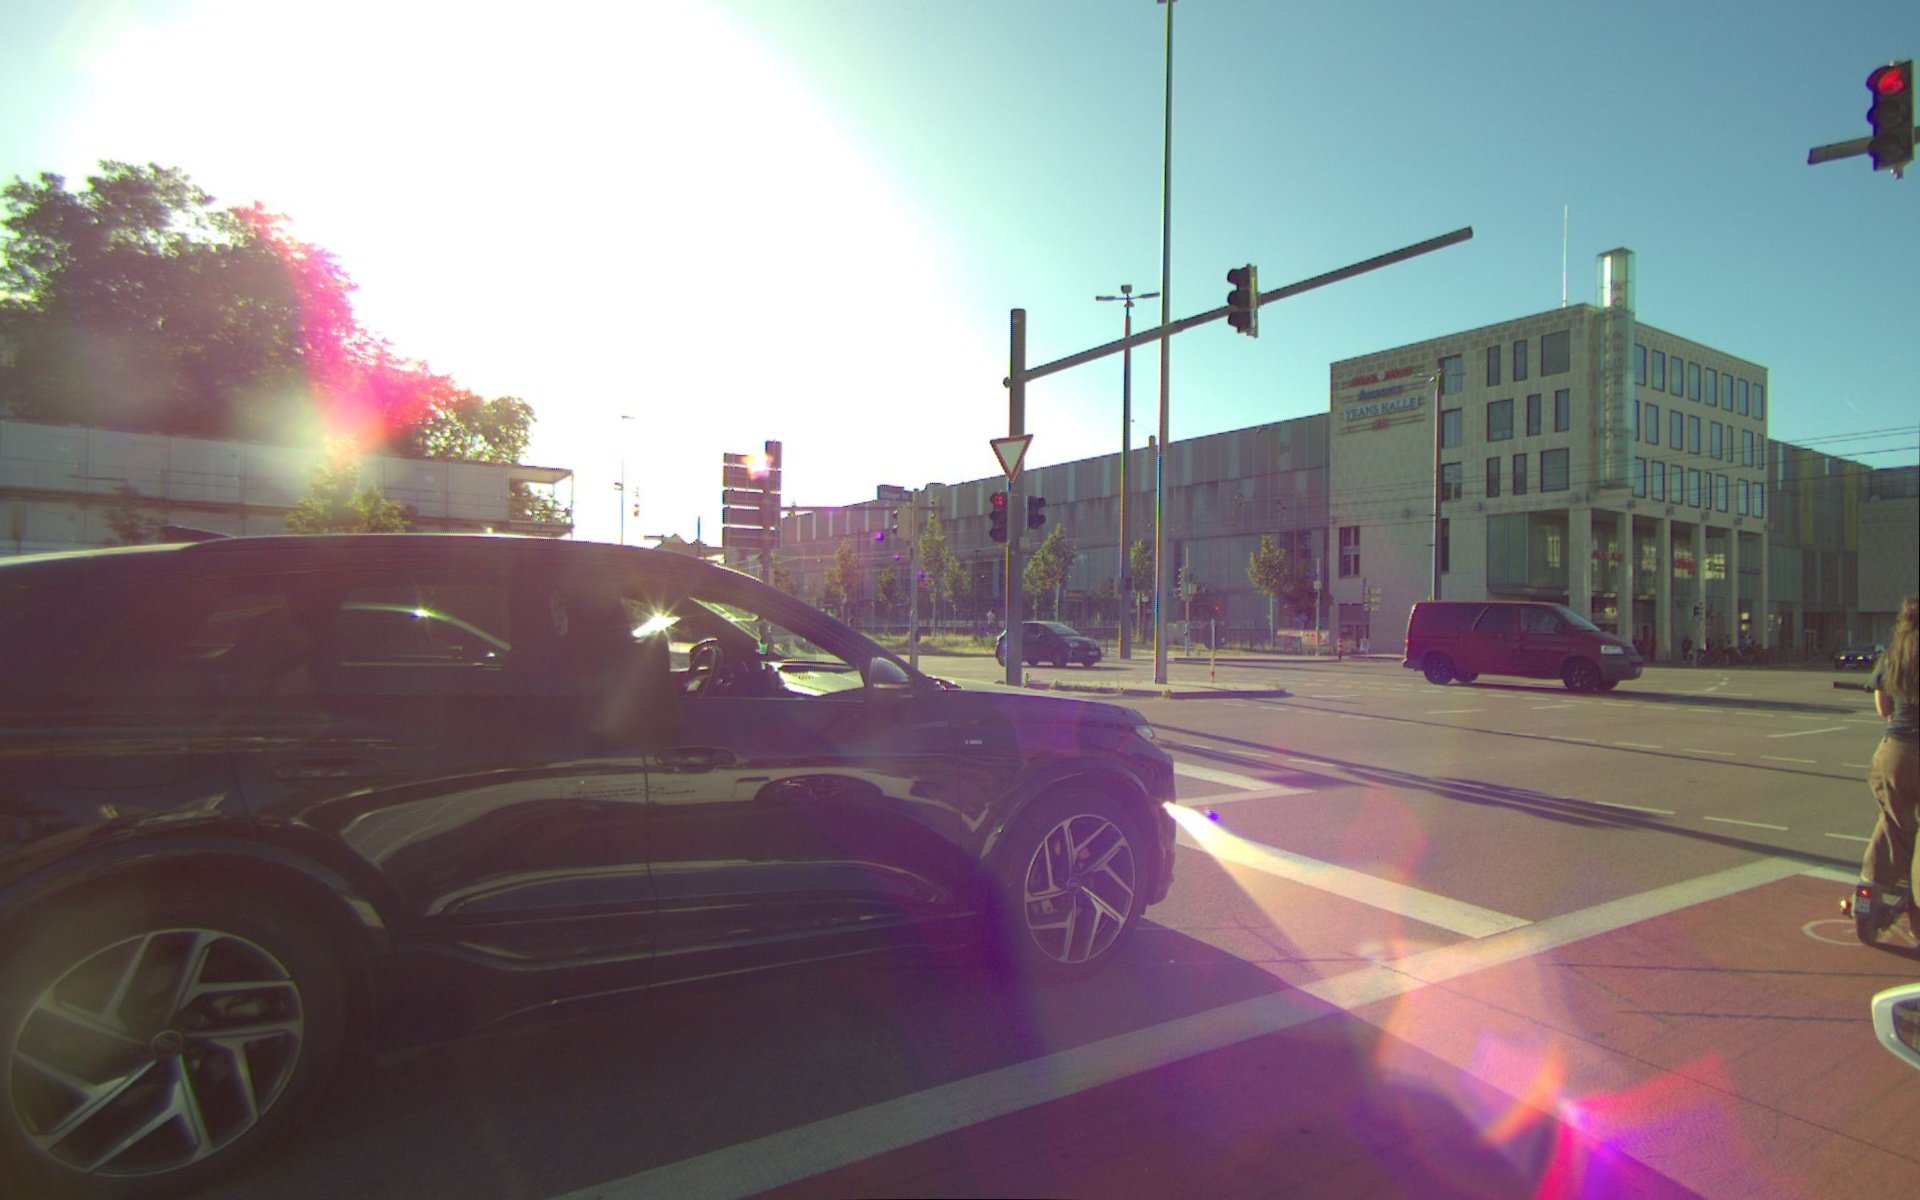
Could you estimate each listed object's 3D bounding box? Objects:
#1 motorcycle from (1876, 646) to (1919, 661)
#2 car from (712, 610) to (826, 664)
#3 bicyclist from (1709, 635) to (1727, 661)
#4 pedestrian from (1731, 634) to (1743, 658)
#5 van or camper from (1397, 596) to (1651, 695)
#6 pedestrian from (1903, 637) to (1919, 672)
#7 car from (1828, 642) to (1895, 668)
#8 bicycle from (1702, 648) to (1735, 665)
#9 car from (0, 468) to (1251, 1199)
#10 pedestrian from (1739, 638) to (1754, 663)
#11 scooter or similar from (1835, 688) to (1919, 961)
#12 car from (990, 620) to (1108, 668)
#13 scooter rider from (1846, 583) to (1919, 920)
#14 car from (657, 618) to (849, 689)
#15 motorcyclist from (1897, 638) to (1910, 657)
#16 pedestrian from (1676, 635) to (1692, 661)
[{"bbox_3d":[70.599,4.008,75.349,1.106,1.006,2.582,2,0,-38],"label":"motorcycle"},{"bbox_3d":[-7.316,1.362,38.110,1.876,1.947,4.865,2,-2,-45],"label":"car"},{"bbox_3d":[42.512,2.677,56.344,0.581,1.467,0.623,1,-1,-28],"label":"bicyclist"},{"bbox_3d":[57.867,3.430,74.767,0.510,1.752,0.472,2,0,9],"label":"pedestrian"},{"bbox_3d":[12.947,0.989,23.294,1.992,2.040,4.783,2,-2,-42],"label":"van or camper"},{"bbox_3d":[46.119,2.630,48.375,0.615,1.660,0.778,1,-1,-11],"label":"pedestrian"},{"bbox_3d":[49.865,3.008,55.538,3.975,1.375,1.668,1,-1,-31],"label":"car"},{"bbox_3d":[42.531,3.149,56.323,2.191,0.915,0.633,1,-1,-29],"label":"bicycle"},{"bbox_3d":[-1.244,0.605,4.077,4.613,1.729,2.153,1,0,-32],"label":"car"},{"bbox_3d":[56.610,3.607,72.316,0.681,1.752,0.472,2,0,9],"label":"pedestrian"},{"bbox_3d":[4.345,0.995,4.678,0.832,1.122,0.303,2,-1,-42],"label":"scooter or similar"},{"bbox_3d":[2.960,1.441,33.858,1.660,1.530,3.824,2,-2,-44],"label":"car"},{"bbox_3d":[4.598,0.699,4.739,0.445,1.550,0.548,1,-1,-38],"label":"scooter rider"},{"bbox_3d":[-4.726,1.177,22.984,3.934,1.500,1.868,1,-1,-30],"label":"car"},{"bbox_3d":[70.899,3.575,75.458,0.657,1.424,0.623,2,0,-38],"label":"motorcyclist"},{"bbox_3d":[46.300,3.049,64.232,0.622,1.667,0.589,1,-1,-30],"label":"pedestrian"}]
